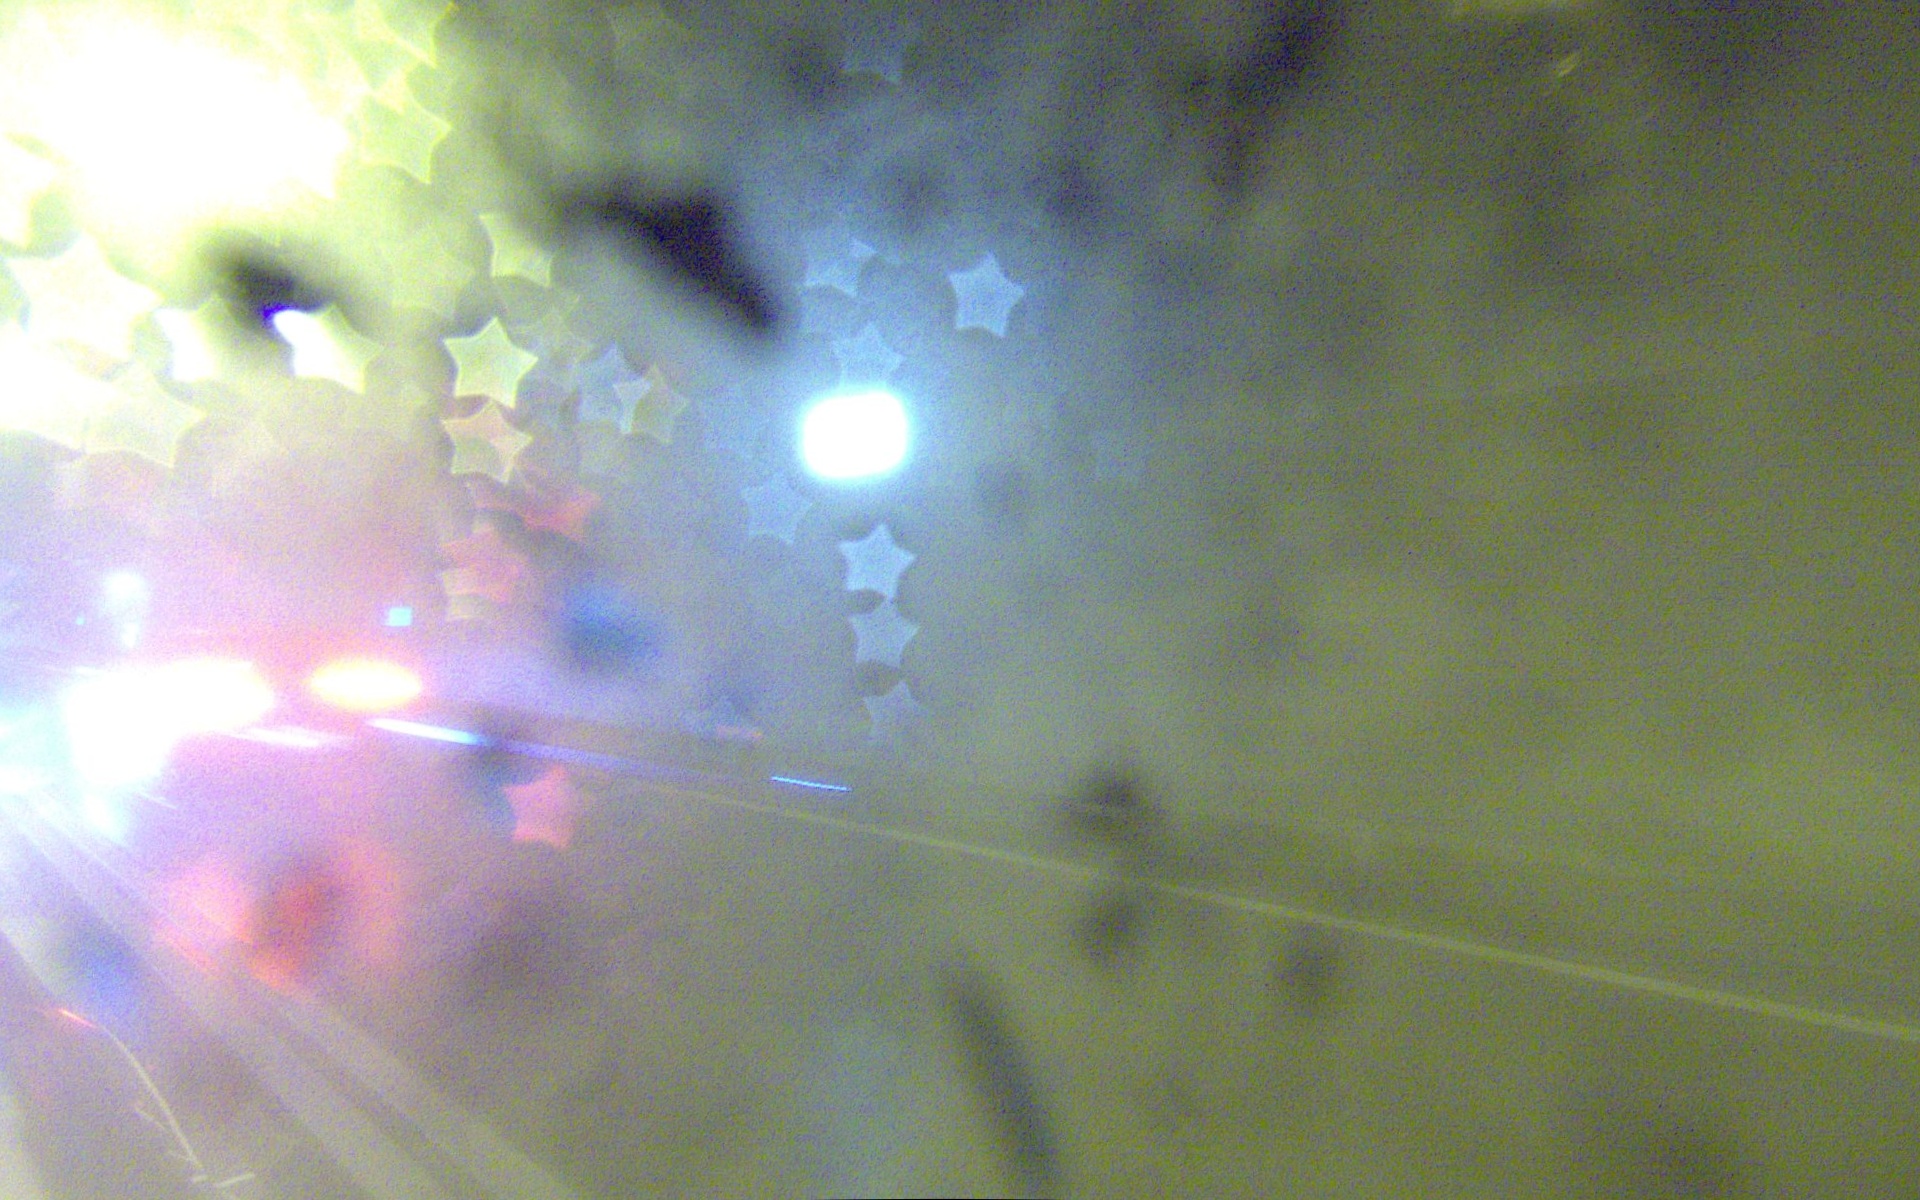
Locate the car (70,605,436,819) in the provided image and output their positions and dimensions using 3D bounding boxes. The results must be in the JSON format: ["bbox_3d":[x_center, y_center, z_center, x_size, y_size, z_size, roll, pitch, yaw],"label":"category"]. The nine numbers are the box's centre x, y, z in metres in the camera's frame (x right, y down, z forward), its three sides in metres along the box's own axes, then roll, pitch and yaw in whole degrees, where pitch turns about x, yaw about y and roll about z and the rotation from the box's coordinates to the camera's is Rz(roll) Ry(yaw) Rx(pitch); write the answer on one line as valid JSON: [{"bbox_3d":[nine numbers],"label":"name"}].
[{"bbox_3d":[-6.494,0.840,9.145,3.866,1.494,1.776,-1,0,40],"label":"car"}]
